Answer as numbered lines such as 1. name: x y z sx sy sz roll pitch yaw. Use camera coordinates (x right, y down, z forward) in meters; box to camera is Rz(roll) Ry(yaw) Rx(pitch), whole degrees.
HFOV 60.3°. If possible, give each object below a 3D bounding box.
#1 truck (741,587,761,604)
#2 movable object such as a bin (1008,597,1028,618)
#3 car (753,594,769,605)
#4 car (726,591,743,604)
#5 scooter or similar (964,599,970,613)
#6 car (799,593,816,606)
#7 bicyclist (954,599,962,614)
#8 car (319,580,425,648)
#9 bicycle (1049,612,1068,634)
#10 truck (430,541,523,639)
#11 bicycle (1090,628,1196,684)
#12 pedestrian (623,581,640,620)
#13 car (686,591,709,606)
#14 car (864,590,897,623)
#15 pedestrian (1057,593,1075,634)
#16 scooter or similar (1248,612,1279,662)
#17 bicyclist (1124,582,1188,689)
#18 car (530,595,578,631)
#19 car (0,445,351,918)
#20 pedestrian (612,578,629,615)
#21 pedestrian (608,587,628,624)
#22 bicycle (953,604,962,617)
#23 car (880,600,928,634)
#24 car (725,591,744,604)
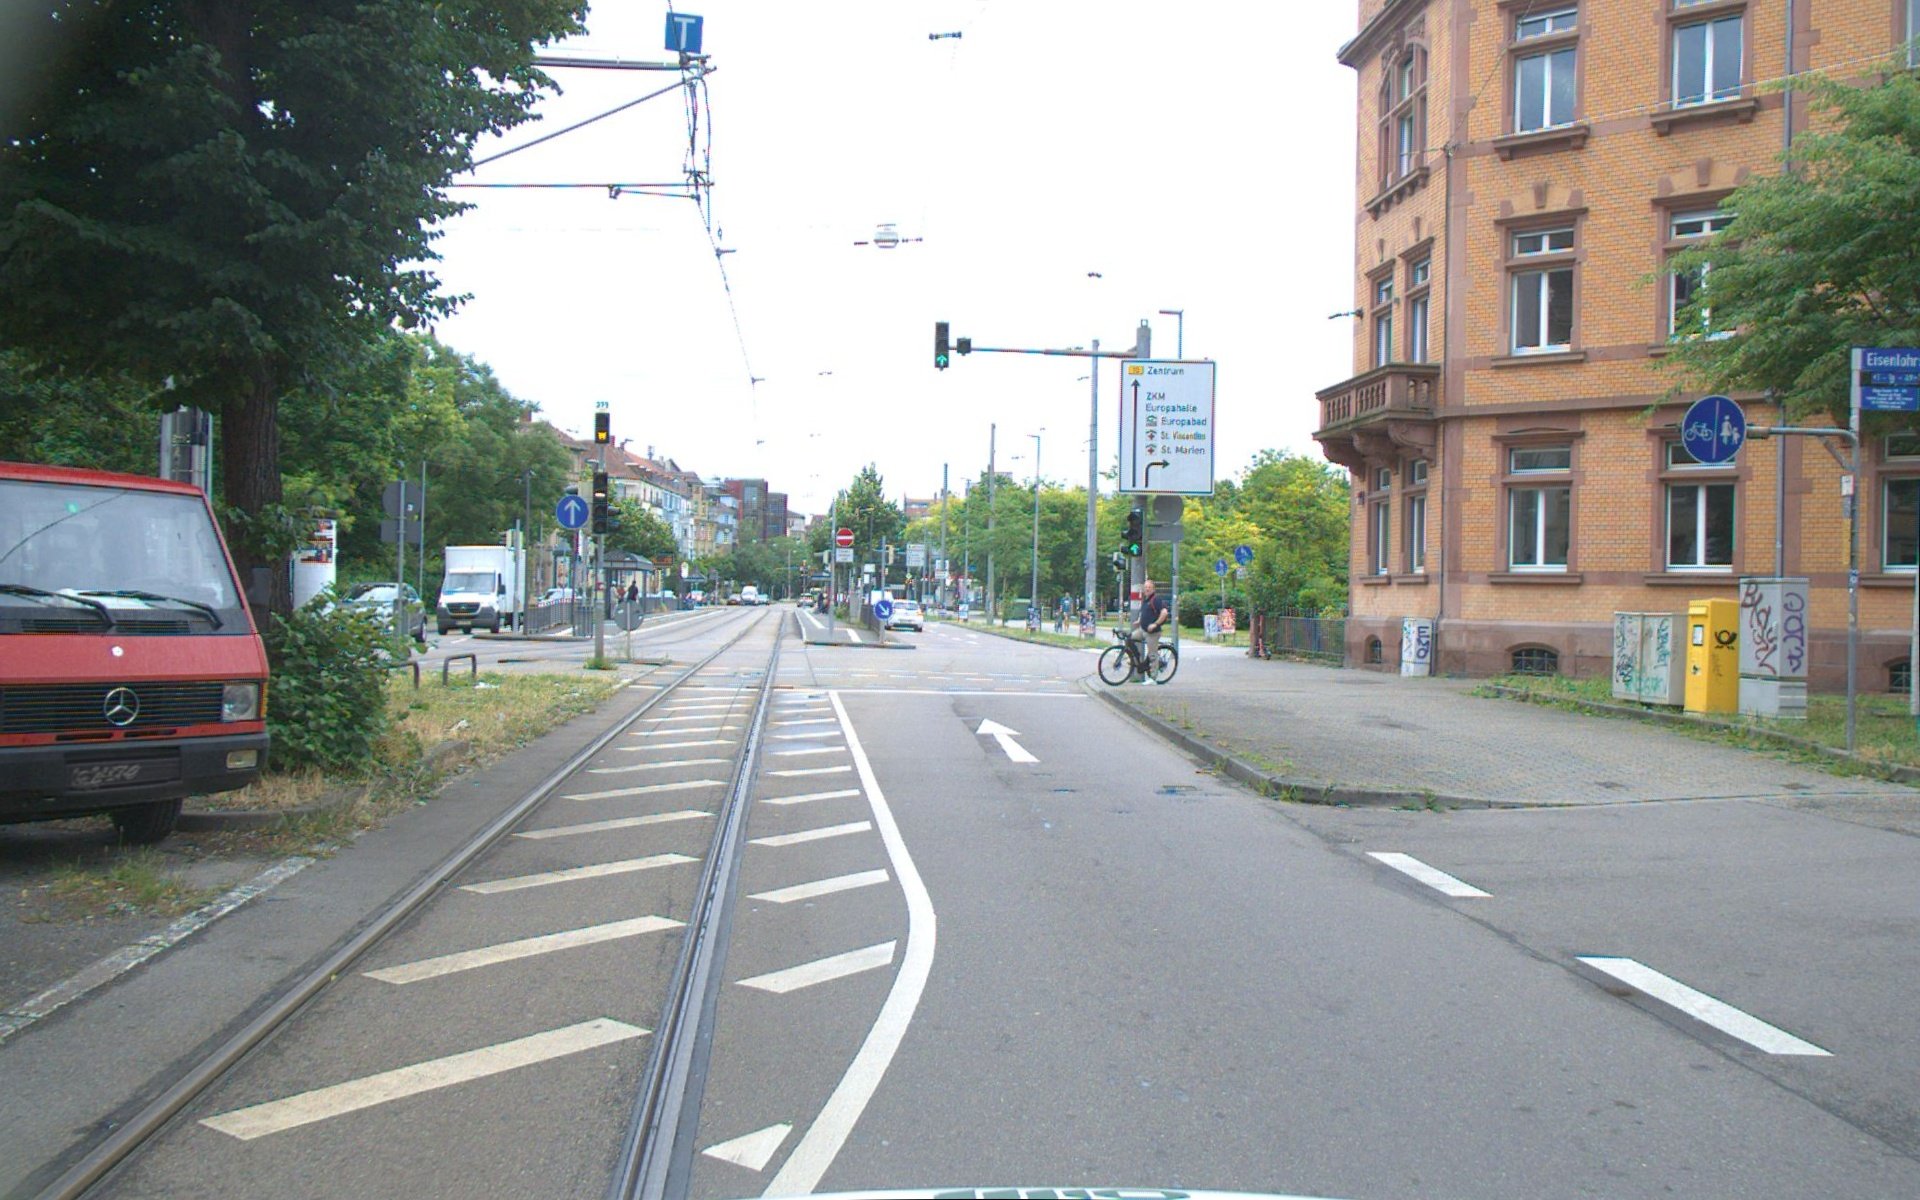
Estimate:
1. truck: -26.755 -0.517 211.588 1.751 2.068 5.395 1 0 0
2. movable object such as a bin: 4.033 0.514 115.036 1.257 1.414 1.158 1 -1 -5
3. car: -27.354 -0.037 227.671 1.734 1.519 3.887 1 0 0
4. car: -29.029 -0.325 212.976 1.734 1.519 3.887 1 0 0
5. scooter or similar: 0.591 0.517 141.004 0.368 1.161 1.200 0 0 5
6. car: -17.485 -0.034 189.672 1.734 1.519 3.885 1 0 -1
7. bicyclist: -0.231 0.574 156.534 0.664 1.404 0.728 0 0 7
8. car: -14.508 0.341 41.000 1.613 1.561 4.125 1 0 -7
9. bicycle: 4.570 1.063 76.803 0.641 1.020 1.777 1 0 -6
10. truck: -16.915 -0.308 58.172 2.144 3.212 7.316 1 0 -9
11. bicycle: 3.231 0.983 29.149 1.849 0.940 0.786 1 0 -39
12. pedestrian: -14.628 0.019 73.626 0.688 1.745 0.696 1 0 -14
13. car: -27.778 -0.142 175.251 1.734 1.519 3.887 1 0 0
14. car: -4.993 0.372 103.555 1.748 1.997 4.376 1 0 -6
15. pedestrian: 4.907 0.641 76.933 0.725 1.902 0.681 0 0 -6
16. scooter or similar: 7.310 0.887 39.899 0.369 1.161 1.197 0 0 -8
17. bicyclist: 3.421 0.606 28.908 0.674 1.826 0.879 1 0 -37
18. car: -19.474 0.600 79.448 1.737 1.668 4.529 1 0 -8
19. car: -5.624 0.319 8.948 4.667 2.009 1.954 1 0 33
20. pedestrian: -15.869 -0.170 77.324 0.754 1.689 1.023 0 0 -9
21. pedestrian: -15.398 0.228 74.504 0.663 1.652 0.634 0 0 11
22. bicycle: -0.221 0.959 156.525 0.664 1.175 1.899 0 0 7
23. car: -2.702 0.795 78.669 1.750 1.498 4.001 1 0 -10
24. car: -27.293 -0.316 200.314 1.734 1.519 3.887 1 0 0
